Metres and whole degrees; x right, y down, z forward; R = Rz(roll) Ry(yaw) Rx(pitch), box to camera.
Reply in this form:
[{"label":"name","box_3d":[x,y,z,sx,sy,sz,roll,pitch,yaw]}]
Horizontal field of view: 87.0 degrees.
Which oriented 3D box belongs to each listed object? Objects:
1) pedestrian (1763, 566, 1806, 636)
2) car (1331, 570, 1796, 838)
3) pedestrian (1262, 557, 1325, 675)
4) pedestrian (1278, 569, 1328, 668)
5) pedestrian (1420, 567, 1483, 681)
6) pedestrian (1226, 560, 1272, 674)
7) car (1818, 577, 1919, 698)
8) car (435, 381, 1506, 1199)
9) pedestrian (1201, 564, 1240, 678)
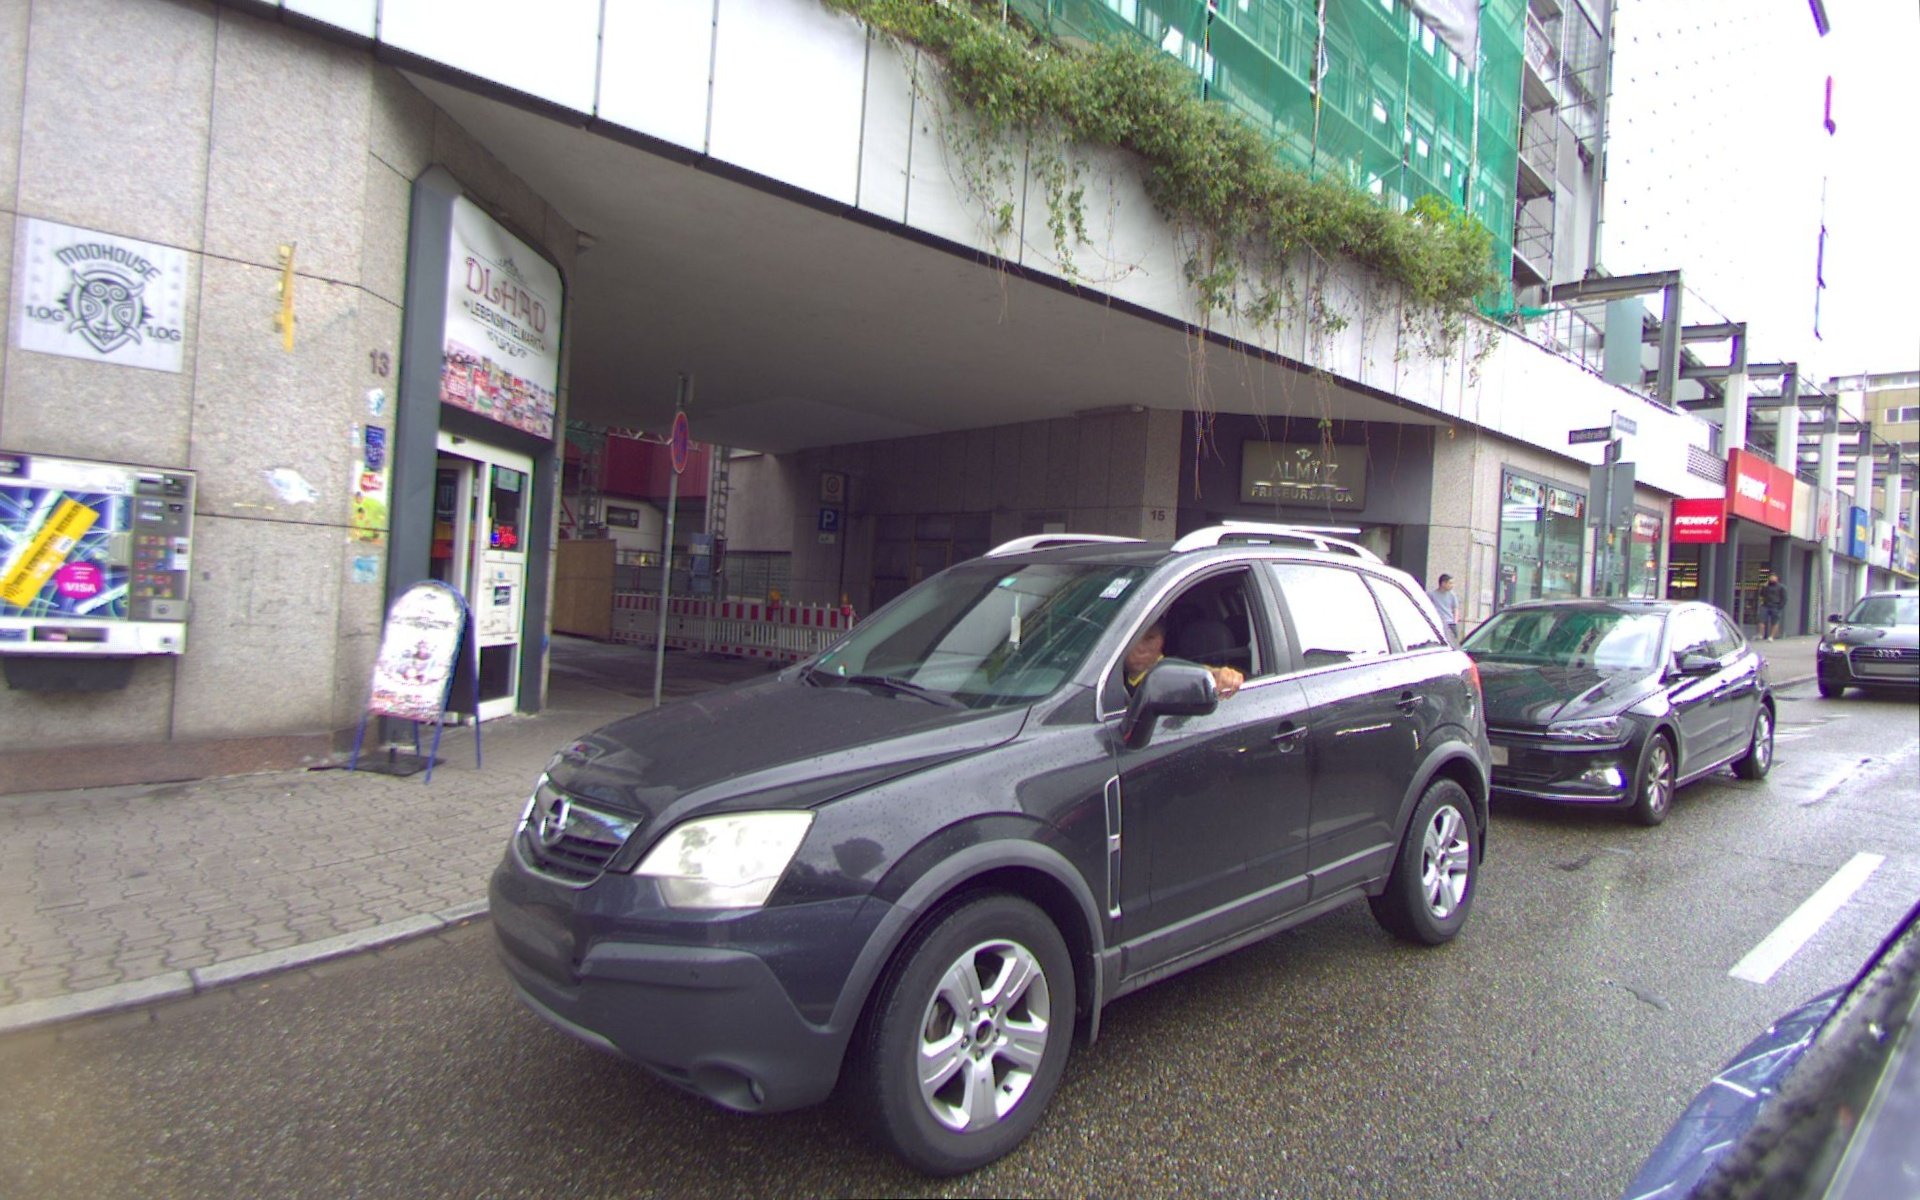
[{"label":"pedestrian","box_3d":[20.423,0.023,25.073,0.567,1.699,0.511,0,2,-14]},{"label":"car","box_3d":[4.746,0.606,7.724,4.088,1.523,1.759,1,0,-39]},{"label":"pedestrian","box_3d":[5.354,0.230,16.296,0.730,1.838,0.773,2,2,3]},{"label":"pedestrian","box_3d":[5.882,0.302,17.352,0.671,1.647,0.574,2,2,30]},{"label":"pedestrian","box_3d":[7.406,0.339,15.250,0.721,1.663,0.637,-1,1,-44]},{"label":"pedestrian","box_3d":[4.217,0.233,14.759,0.630,1.615,0.574,0,1,17]},{"label":"car","box_3d":[14.368,0.487,14.979,4.089,1.628,1.841,-1,1,-39]},{"label":"car","box_3d":[0.410,0.485,3.985,4.091,1.788,1.763,1,0,-41]},{"label":"pedestrian","box_3d":[4.009,0.316,15.602,0.474,1.729,0.467,0,0,1]}]
